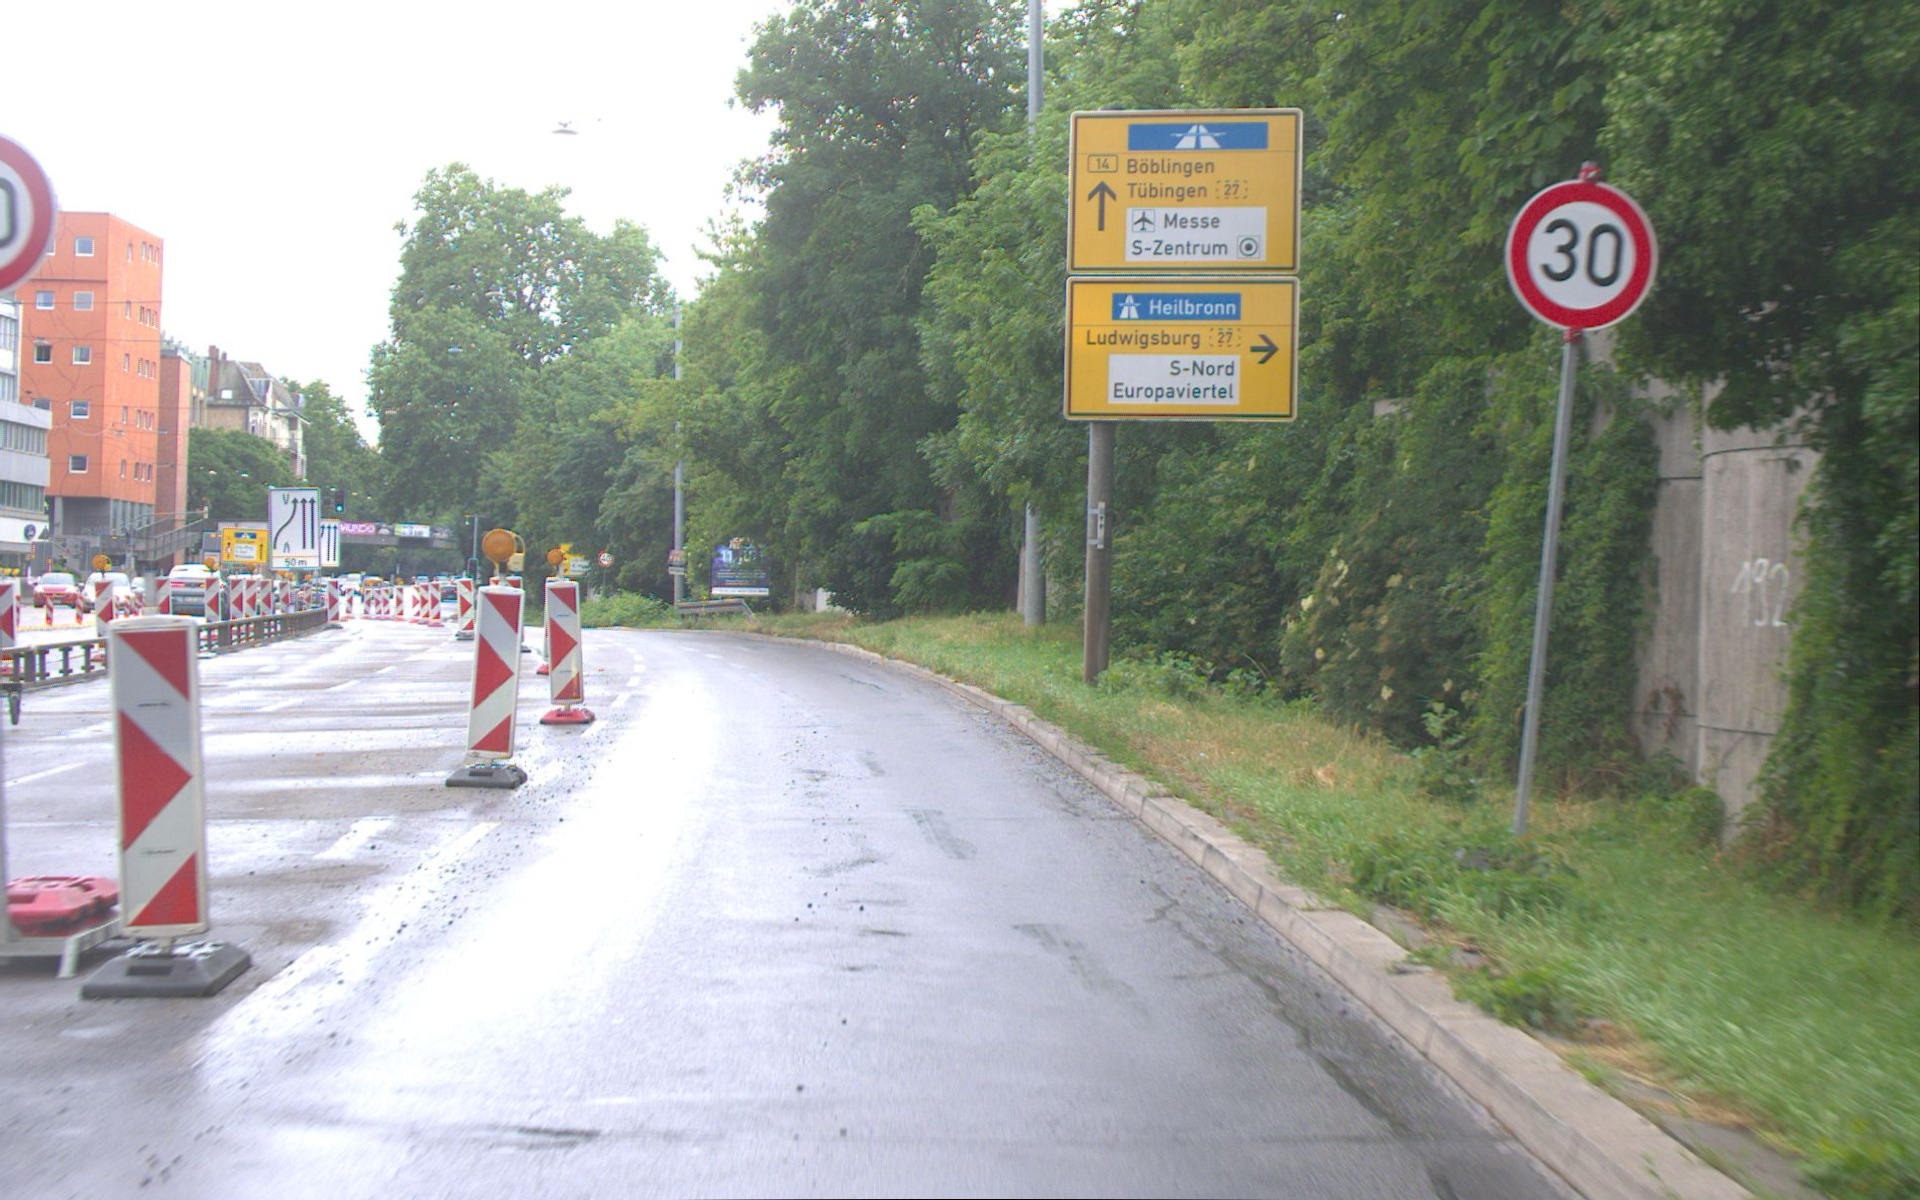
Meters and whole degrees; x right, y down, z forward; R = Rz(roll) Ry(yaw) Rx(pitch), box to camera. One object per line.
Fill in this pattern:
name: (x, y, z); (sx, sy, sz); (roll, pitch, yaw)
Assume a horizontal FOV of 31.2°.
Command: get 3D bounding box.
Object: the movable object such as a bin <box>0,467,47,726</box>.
movable object such as a bin: (-8.818, -0.028, 28.655); (1.715, 2.142, 3.350); (0, 1, -4)
